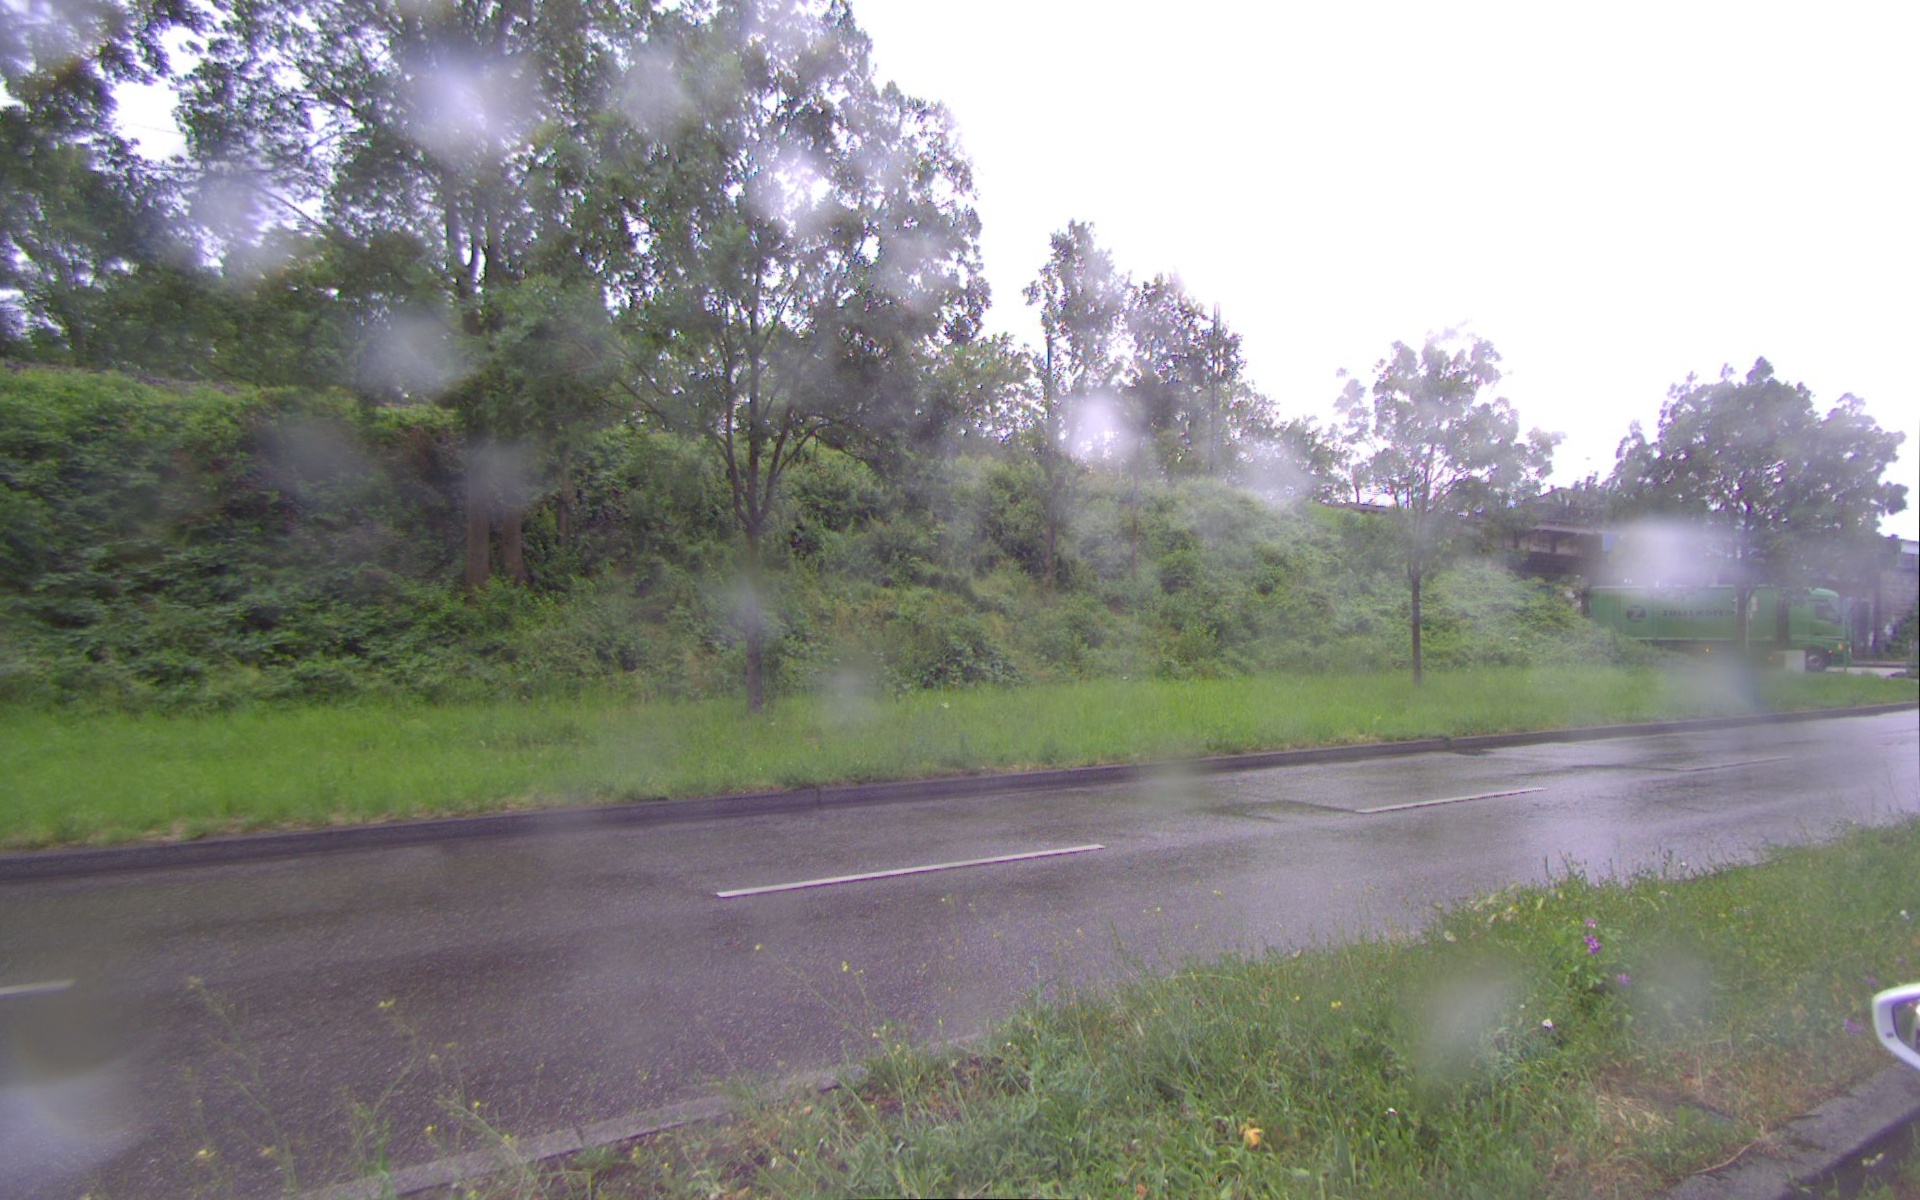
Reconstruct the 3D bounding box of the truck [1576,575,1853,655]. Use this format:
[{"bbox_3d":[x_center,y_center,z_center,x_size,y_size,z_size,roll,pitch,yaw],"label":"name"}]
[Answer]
[{"bbox_3d":[34.369,0.648,46.323,9.872,3.416,2.346,0,-1,25],"label":"truck"}]
